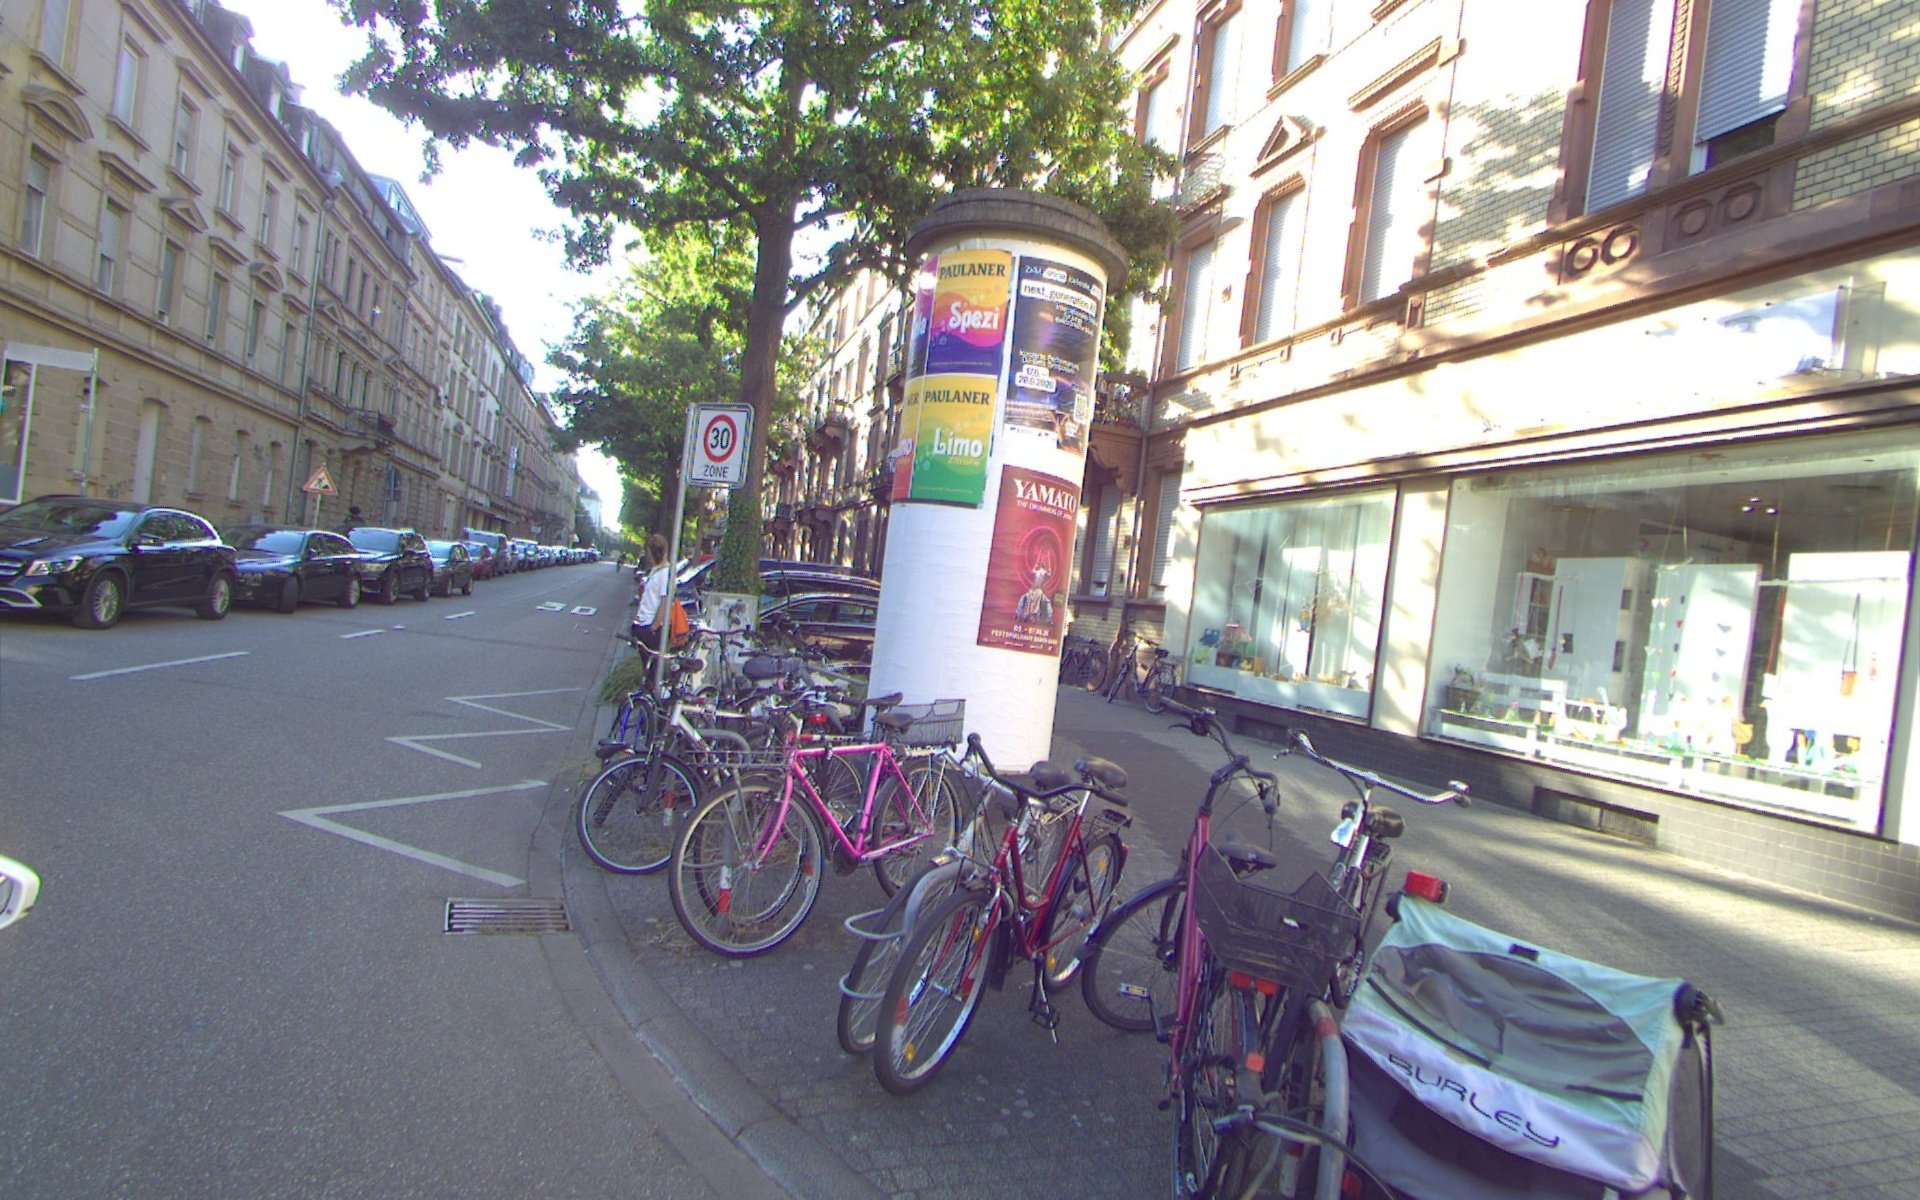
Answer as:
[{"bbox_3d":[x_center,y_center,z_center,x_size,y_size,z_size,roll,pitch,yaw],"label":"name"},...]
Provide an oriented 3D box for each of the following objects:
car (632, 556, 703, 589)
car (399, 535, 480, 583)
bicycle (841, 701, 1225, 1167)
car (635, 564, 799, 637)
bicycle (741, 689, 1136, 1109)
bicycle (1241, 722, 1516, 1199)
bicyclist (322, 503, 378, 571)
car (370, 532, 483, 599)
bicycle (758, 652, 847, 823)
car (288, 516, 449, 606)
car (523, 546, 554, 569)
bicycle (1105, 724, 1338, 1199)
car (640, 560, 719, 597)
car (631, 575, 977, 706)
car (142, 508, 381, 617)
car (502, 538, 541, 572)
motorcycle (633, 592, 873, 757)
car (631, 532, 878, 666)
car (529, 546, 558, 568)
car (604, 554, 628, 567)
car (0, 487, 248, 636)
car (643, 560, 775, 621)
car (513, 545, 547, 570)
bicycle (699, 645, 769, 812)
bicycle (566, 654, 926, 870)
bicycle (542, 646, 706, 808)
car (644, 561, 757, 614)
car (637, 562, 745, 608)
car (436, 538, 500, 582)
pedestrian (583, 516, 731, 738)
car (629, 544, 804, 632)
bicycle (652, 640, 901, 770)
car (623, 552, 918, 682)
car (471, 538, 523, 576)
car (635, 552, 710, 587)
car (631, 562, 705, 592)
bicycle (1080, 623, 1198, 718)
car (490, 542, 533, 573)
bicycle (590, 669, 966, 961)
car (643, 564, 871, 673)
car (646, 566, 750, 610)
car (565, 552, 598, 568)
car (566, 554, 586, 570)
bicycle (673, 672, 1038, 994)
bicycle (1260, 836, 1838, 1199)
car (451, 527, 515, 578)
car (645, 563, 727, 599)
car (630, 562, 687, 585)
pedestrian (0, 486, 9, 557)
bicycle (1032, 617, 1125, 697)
[{"bbox_3d":[-19.730,-1.847,67.904,4.196,1.818,1.816,5,1,-38],"label":"car"},{"bbox_3d":[-19.272,-1.504,37.417,1.737,1.520,4.045,6,0,-16],"label":"car"},{"bbox_3d":[0.391,0.972,3.567,0.418,1.107,1.930,5,0,33],"label":"bicycle"},{"bbox_3d":[-6.456,0.012,26.664,4.006,1.529,1.871,5,1,-19],"label":"car"},{"bbox_3d":[0.052,0.940,3.805,0.418,1.107,1.930,5,0,33],"label":"bicycle"},{"bbox_3d":[1.328,1.071,3.454,0.563,1.107,1.477,4,0,14],"label":"bicycle"},{"bbox_3d":[-18.020,-1.842,29.763,0.984,1.812,1.203,7,0,-17],"label":"bicyclist"},{"bbox_3d":[-14.578,-0.932,27.730,1.736,1.520,4.046,6,0,-15],"label":"car"},{"bbox_3d":[-1.109,0.886,6.901,0.349,0.939,1.520,4,0,-16],"label":"bicycle"},{"bbox_3d":[-13.120,-0.844,22.641,1.736,1.620,4.537,6,0,-14],"label":"car"},{"bbox_3d":[-30.967,-3.125,74.015,1.739,1.491,4.040,7,1,-19],"label":"car"},{"bbox_3d":[0.699,1.003,2.879,0.417,1.107,1.477,4,0,12],"label":"bicycle"},{"bbox_3d":[-15.392,-1.189,55.191,3.963,1.627,1.727,5,1,-19],"label":"car"},{"bbox_3d":[-2.315,0.594,14.971,4.726,1.430,1.845,6,0,-16],"label":"car"},{"bbox_3d":[-12.014,-0.605,17.711,1.735,1.469,4.539,6,0,-12],"label":"car"},{"bbox_3d":[-27.578,-2.832,63.437,1.739,1.865,4.509,6,1,-19],"label":"car"},{"bbox_3d":[-1.782,0.642,8.673,1.875,1.250,0.683,5,1,-18],"label":"motorcycle"},{"bbox_3d":[-4.580,0.001,22.345,4.966,2.242,1.984,7,0,-19],"label":"car"},{"bbox_3d":[-32.529,-3.365,78.598,1.739,1.491,4.040,7,1,-19],"label":"car"},{"bbox_3d":[-66.996,-7.620,195.883,3.934,1.882,1.747,8,0,-10],"label":"car"},{"bbox_3d":[-10.844,-0.499,12.502,1.736,1.506,4.127,6,0,-14],"label":"car"},{"bbox_3d":[-8.498,-0.322,34.144,4.133,1.648,1.831,5,1,-15],"label":"car"},{"bbox_3d":[-29.141,-2.885,68.224,1.739,1.491,4.040,7,1,-19],"label":"car"},{"bbox_3d":[-1.546,0.836,7.006,0.348,0.939,1.522,4,0,-10],"label":"bicycle"},{"bbox_3d":[-1.126,0.848,5.645,1.920,1.000,0.491,4,1,-40],"label":"bicycle"},{"bbox_3d":[-2.262,0.819,6.938,0.348,0.939,1.413,4,0,12],"label":"bicycle"},{"bbox_3d":[-10.011,-0.479,38.732,3.964,1.648,1.797,5,1,-20],"label":"car"},{"bbox_3d":[-11.570,-0.644,43.275,4.292,1.577,1.841,4,2,-19],"label":"car"},{"bbox_3d":[-20.397,-1.650,41.834,1.574,1.493,3.686,9,0,-16],"label":"car"},{"bbox_3d":[-2.898,0.253,9.618,1.102,1.922,0.839,7,1,-19],"label":"pedestrian"},{"bbox_3d":[-7.098,-0.332,29.323,4.623,2.059,1.869,5,1,-21],"label":"car"},{"bbox_3d":[-1.473,0.863,8.171,1.907,0.939,0.353,4,1,-19],"label":"bicycle"},{"bbox_3d":[-3.252,0.304,17.285,4.630,1.700,1.844,6,0,-17],"label":"car"},{"bbox_3d":[-24.153,-2.228,52.637,1.734,1.628,4.366,9,0,-18],"label":"car"},{"bbox_3d":[-20.454,-2.168,71.568,4.997,1.950,1.827,5,1,-19],"label":"car"},{"bbox_3d":[-18.155,-1.440,62.528,4.176,1.422,1.825,5,1,-23],"label":"car"},{"bbox_3d":[2.700,1.039,15.571,0.662,1.186,2.584,4,0,-15],"label":"bicycle"},{"bbox_3d":[-26.128,-2.494,58.721,1.740,1.484,3.981,9,0,-19],"label":"car"},{"bbox_3d":[-0.754,0.896,4.820,0.495,1.065,1.929,5,0,35],"label":"bicycle"},{"bbox_3d":[-3.965,0.357,19.576,4.058,1.553,1.718,7,0,-18],"label":"car"},{"bbox_3d":[-10.709,-0.494,41.076,3.962,1.453,1.787,4,1,-19],"label":"car"},{"bbox_3d":[-48.836,-5.182,129.818,1.962,1.503,4.004,6,-2,14],"label":"car"},{"bbox_3d":[-45.750,-4.498,120.023,1.971,1.503,3.985,7,-2,-19],"label":"car"},{"bbox_3d":[-0.353,0.908,4.552,0.418,1.107,1.929,5,0,35],"label":"bicycle"},{"bbox_3d":[1.272,1.145,2.190,0.992,1.039,0.730,7,0,-40],"label":"bicycle"},{"bbox_3d":[-22.219,-2.194,47.052,1.812,1.966,5.238,9,0,-18],"label":"car"},{"bbox_3d":[-14.437,-1.009,52.949,3.963,1.486,1.727,5,1,-19],"label":"car"},{"bbox_3d":[-22.179,-1.924,74.020,3.808,1.310,1.709,5,1,-22],"label":"car"},{"bbox_3d":[-17.038,-1.403,17.260,0.717,1.229,0.753,7,1,-20],"label":"pedestrian"},{"bbox_3d":[2.082,0.980,18.115,0.662,1.186,2.584,4,0,-15],"label":"bicycle"}]
